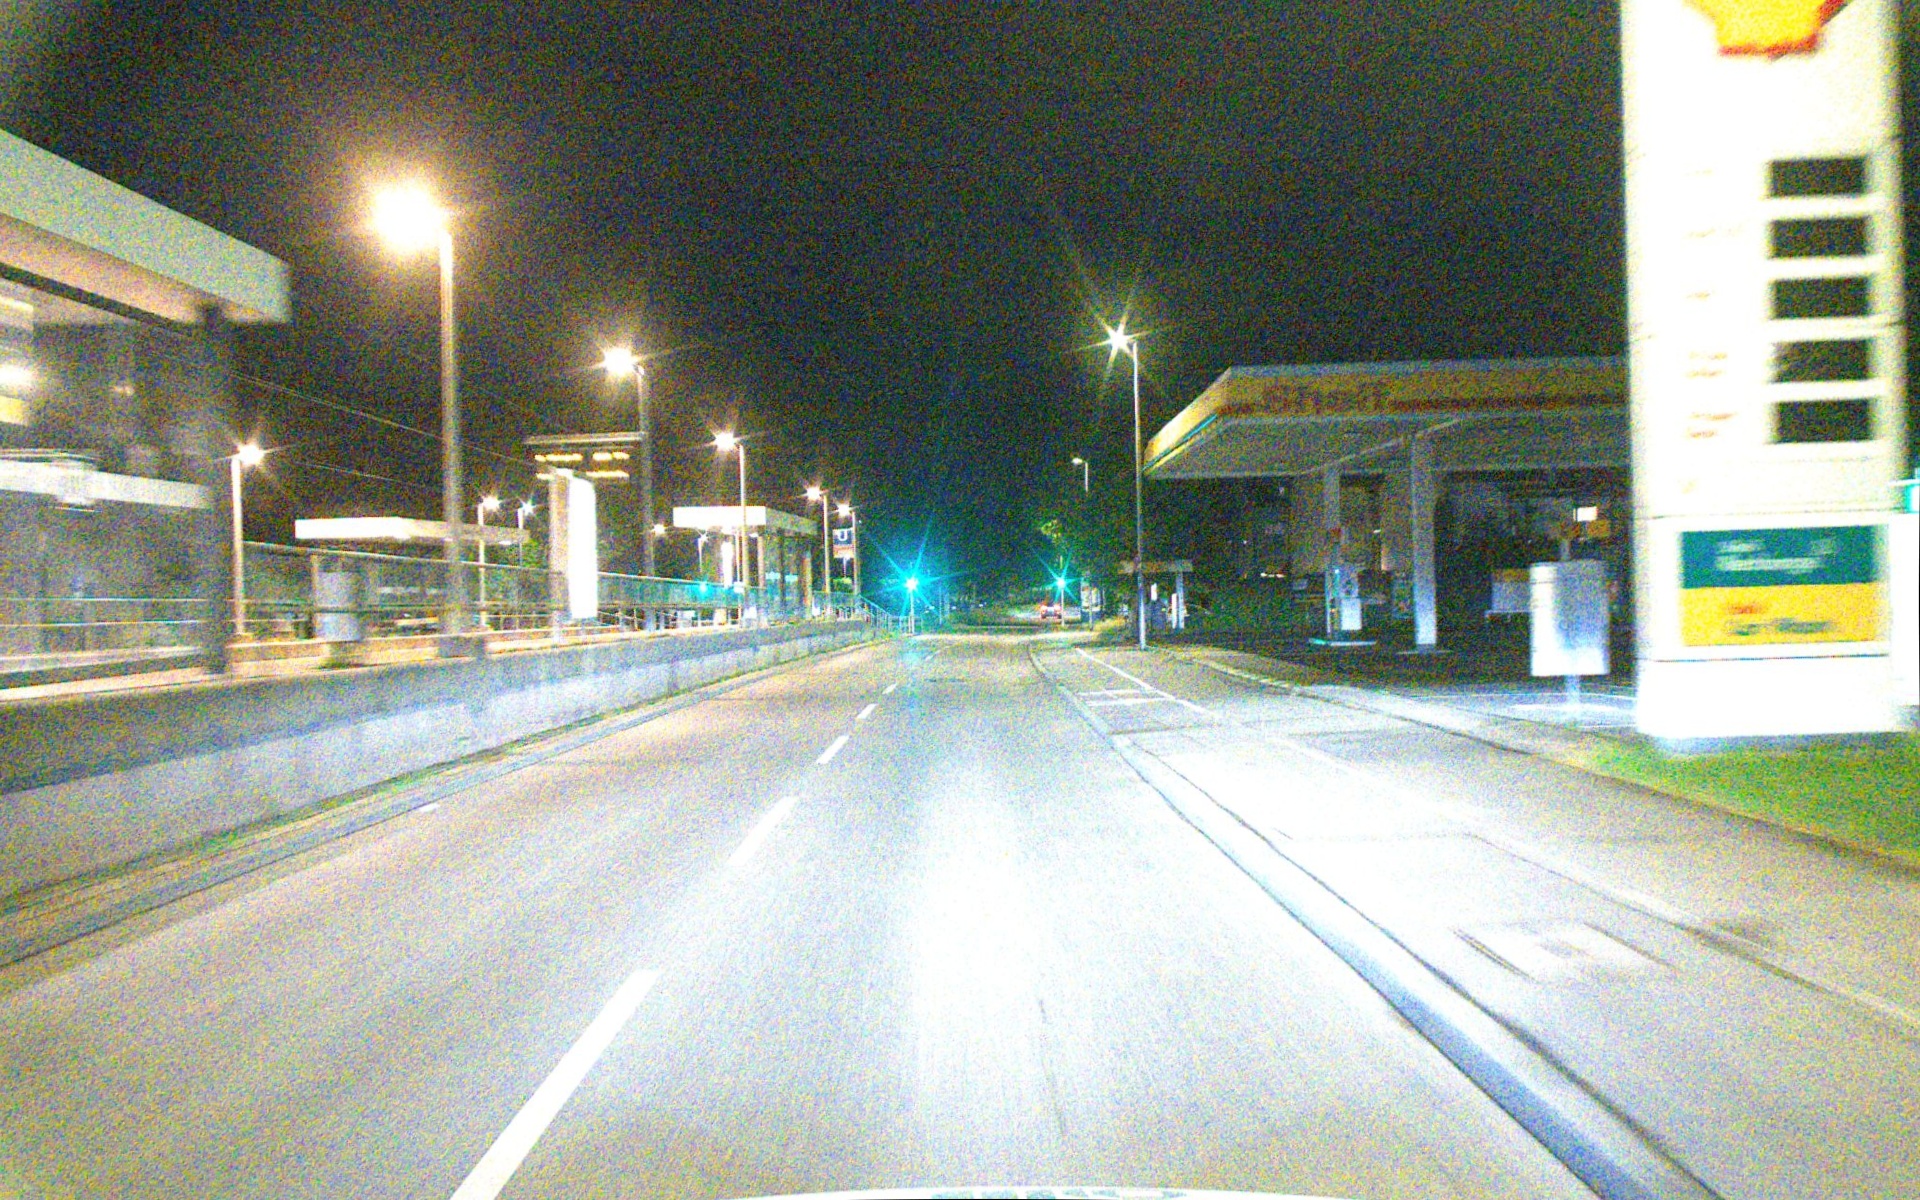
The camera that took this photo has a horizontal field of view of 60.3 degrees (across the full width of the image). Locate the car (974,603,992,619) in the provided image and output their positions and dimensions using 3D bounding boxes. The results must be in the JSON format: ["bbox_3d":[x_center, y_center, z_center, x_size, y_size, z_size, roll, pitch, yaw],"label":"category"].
[{"bbox_3d":[3.316,1.579,237.322,2.048,2.048,4.003,-5,0,6],"label":"car"}]

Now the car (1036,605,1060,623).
[{"bbox_3d":[8.008,1.249,150.494,2.116,1.610,4.014,-1,-1,2],"label":"car"}]

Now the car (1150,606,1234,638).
[{"bbox_3d":[10.722,1.026,76.520,3.685,1.378,1.860,-1,0,4],"label":"car"}]

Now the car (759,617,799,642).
[{"bbox_3d":[-11.580,1.869,106.005,1.611,1.362,4.546,-5,-1,5],"label":"car"}]

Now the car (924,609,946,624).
[{"bbox_3d":[-2.804,1.831,187.400,1.951,1.656,4.680,-1,0,6],"label":"car"}]

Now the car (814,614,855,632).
[{"bbox_3d":[-9.701,1.787,127.855,2.965,1.349,1.534,-1,-1,1],"label":"car"}]

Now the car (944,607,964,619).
[{"bbox_3d":[-0.731,1.595,207.154,1.951,1.361,5.435,-1,0,6],"label":"car"}]

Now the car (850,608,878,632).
[{"bbox_3d":[-8.064,1.670,139.344,1.818,1.937,4.882,-1,0,4],"label":"car"}]
